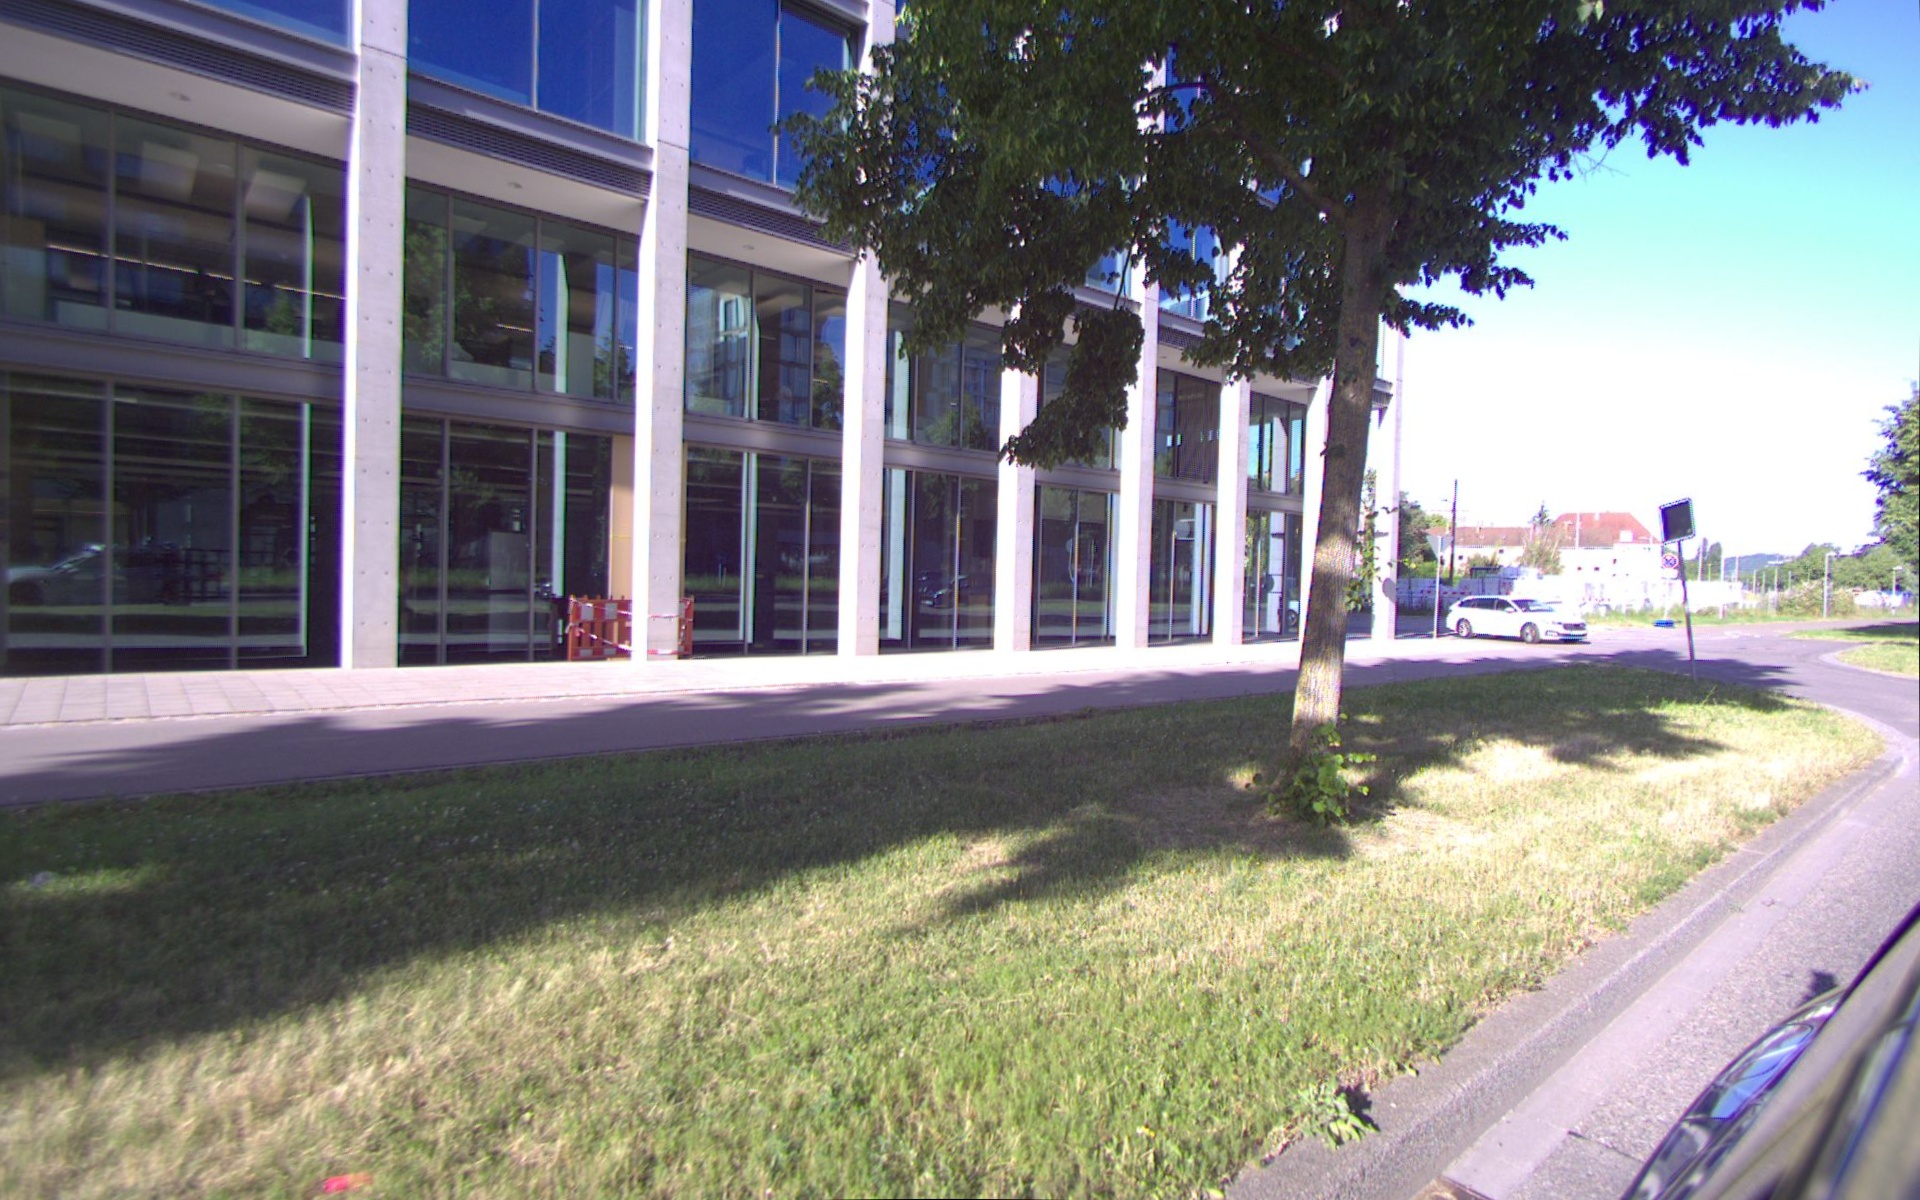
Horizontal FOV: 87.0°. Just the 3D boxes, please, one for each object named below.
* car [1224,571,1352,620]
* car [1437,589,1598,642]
[{"bbox_3d":[11.873,-0.187,36.857,1.963,1.598,3.998,0,2,-38],"label":"car"},{"bbox_3d":[17.923,0.448,32.839,1.767,1.465,4.580,1,2,-17],"label":"car"}]
